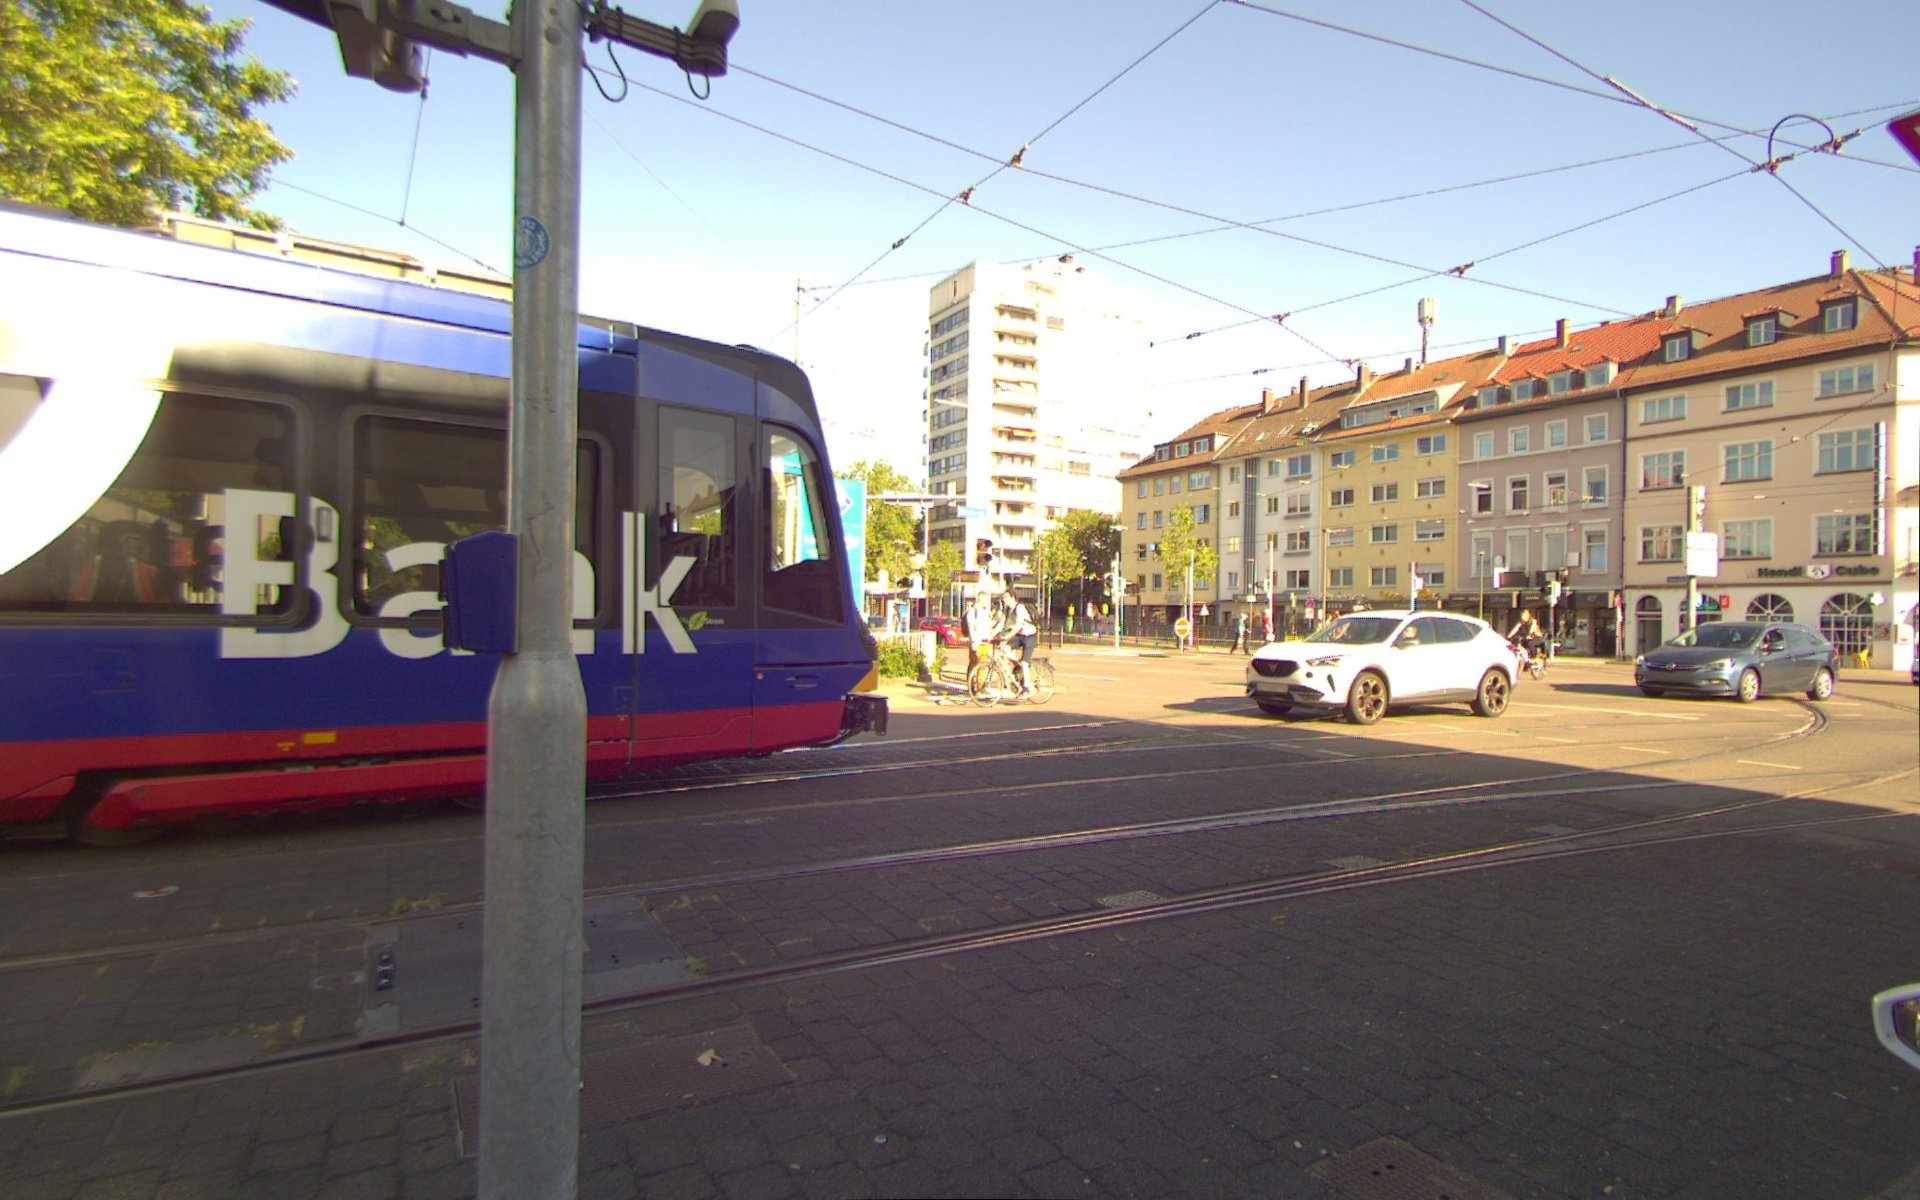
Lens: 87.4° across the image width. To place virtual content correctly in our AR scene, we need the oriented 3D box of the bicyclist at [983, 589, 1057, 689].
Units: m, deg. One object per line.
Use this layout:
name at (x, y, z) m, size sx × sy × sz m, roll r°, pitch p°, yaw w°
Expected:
bicyclist at (0.980, 0.625, 16.466) m, size 0.975 × 1.580 × 0.711 m, roll 1°, pitch -1°, yaw -30°

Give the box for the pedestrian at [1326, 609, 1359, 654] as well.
pedestrian at (15.309, 1.247, 40.212) m, size 0.831 × 1.756 × 0.898 m, roll 1°, pitch -1°, yaw -29°

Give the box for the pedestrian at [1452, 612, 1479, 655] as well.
pedestrian at (19.740, 1.317, 39.226) m, size 0.664 × 1.648 × 0.721 m, roll 1°, pitch -1°, yaw -31°

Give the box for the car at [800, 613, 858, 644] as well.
car at (-6.862, 1.477, 52.358) m, size 1.721 × 1.539 × 3.971 m, roll 1°, pitch -1°, yaw -28°

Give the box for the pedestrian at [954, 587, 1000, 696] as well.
pedestrian at (0.311, 0.754, 18.350) m, size 0.577 × 1.951 × 0.626 m, roll 1°, pitch -1°, yaw -29°

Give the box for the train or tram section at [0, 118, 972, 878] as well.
train or tram section at (-5.637, -0.486, 5.974) m, size 11.998 × 3.661 × 3.034 m, roll 2°, pitch -1°, yaw -36°

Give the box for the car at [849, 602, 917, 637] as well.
car at (-3.669, 0.914, 47.085) m, size 1.721 × 1.539 × 3.971 m, roll 1°, pitch -1°, yaw -28°

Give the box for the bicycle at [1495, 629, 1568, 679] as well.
bicycle at (13.747, 1.292, 24.135) m, size 1.931 × 1.181 × 0.484 m, roll 1°, pitch -1°, yaw -24°

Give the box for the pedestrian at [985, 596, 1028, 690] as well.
pedestrian at (0.916, 0.843, 19.831) m, size 0.727 × 1.825 × 0.742 m, roll 1°, pitch -1°, yaw -5°

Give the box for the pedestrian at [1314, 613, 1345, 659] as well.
pedestrian at (14.629, 1.419, 39.776) m, size 0.779 × 1.756 × 0.817 m, roll 1°, pitch -1°, yaw -29°

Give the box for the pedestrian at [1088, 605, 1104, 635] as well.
pedestrian at (7.126, 1.054, 52.668) m, size 0.585 × 1.589 × 0.730 m, roll 1°, pitch -1°, yaw -9°

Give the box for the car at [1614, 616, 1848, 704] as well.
car at (14.797, 1.098, 19.250) m, size 4.513 × 1.517 × 1.768 m, roll 1°, pitch -1°, yaw -26°

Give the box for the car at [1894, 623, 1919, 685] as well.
car at (25.612, 1.378, 25.391) m, size 3.534 × 1.517 × 1.713 m, roll 1°, pitch -1°, yaw -24°

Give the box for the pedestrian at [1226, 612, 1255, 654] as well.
pedestrian at (11.197, 1.316, 40.075) m, size 0.794 × 1.652 × 0.863 m, roll 1°, pitch -1°, yaw -12°

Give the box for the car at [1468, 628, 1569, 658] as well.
car at (30.566, 2.334, 55.078) m, size 1.725 × 1.459 × 4.614 m, roll 2°, pitch -1°, yaw -32°

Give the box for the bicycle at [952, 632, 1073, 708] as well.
bicycle at (0.873, 1.119, 16.394) m, size 2.032 × 1.181 × 0.483 m, roll 1°, pitch -1°, yaw -31°

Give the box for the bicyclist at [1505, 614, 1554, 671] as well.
bicyclist at (13.670, 1.011, 24.119) m, size 0.885 × 1.357 × 0.602 m, roll 1°, pitch -1°, yaw -23°

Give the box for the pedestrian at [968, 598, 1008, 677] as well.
pedestrian at (0.630, 0.836, 22.703) m, size 0.721 × 1.752 × 0.746 m, roll 1°, pitch -1°, yaw -15°

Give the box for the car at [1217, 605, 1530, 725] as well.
car at (6.040, 0.877, 14.602) m, size 4.294 × 1.517 × 1.985 m, roll 1°, pitch -1°, yaw -29°

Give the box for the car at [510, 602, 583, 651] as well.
car at (-13.623, 0.853, 32.959) m, size 1.697 × 1.506 × 4.185 m, roll 1°, pitch -1°, yaw -30°

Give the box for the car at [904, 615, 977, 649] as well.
car at (-0.984, 1.512, 48.172) m, size 1.697 × 1.506 × 4.185 m, roll 1°, pitch -1°, yaw -30°

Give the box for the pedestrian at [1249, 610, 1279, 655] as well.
pedestrian at (11.840, 1.257, 39.103) m, size 0.833 × 1.746 × 0.824 m, roll 1°, pitch -1°, yaw -8°
